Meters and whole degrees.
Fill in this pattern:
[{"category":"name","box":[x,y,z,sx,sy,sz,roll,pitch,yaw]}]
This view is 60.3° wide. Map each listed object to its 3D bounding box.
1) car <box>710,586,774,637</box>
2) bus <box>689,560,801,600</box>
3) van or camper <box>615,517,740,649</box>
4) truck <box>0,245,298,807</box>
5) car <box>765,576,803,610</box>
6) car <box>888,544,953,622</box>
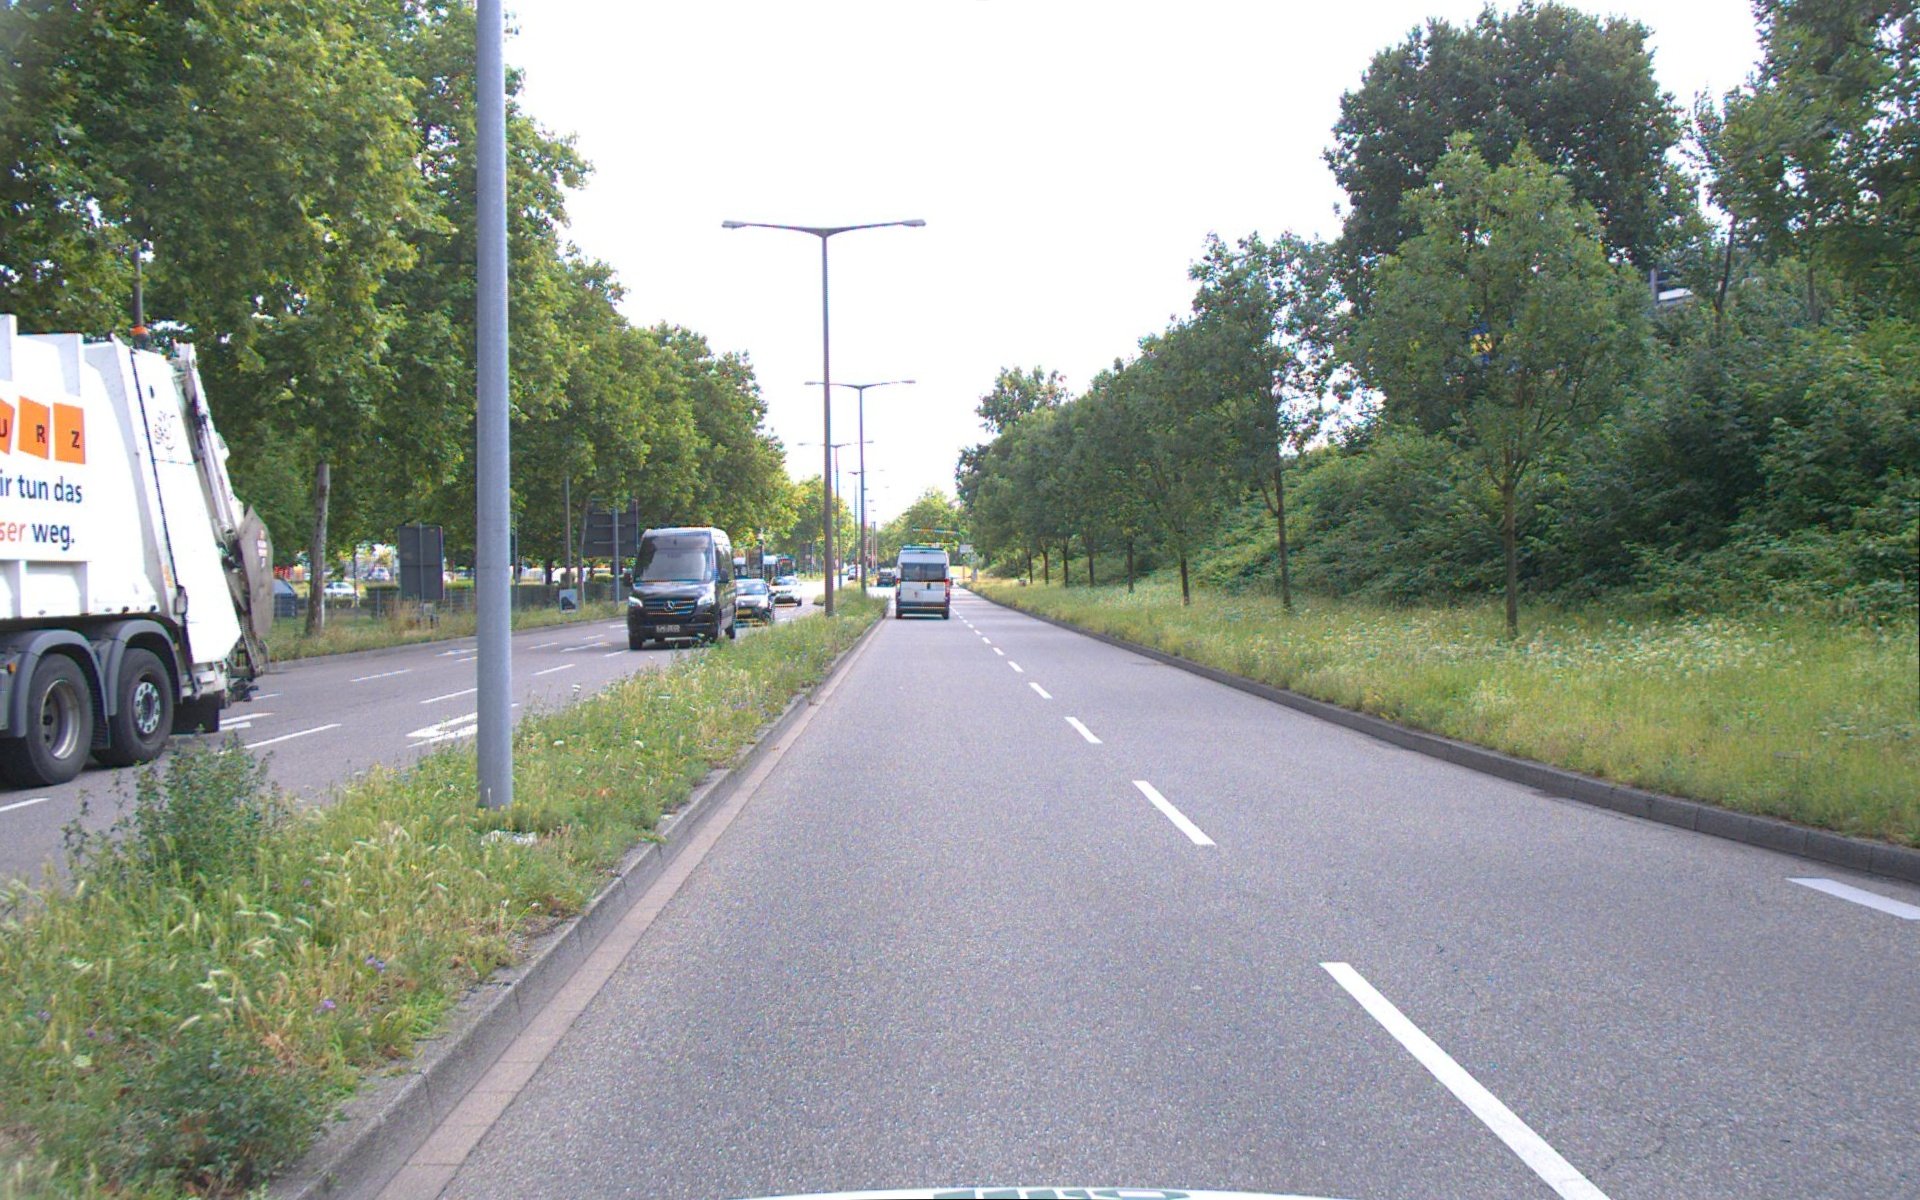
[{"category":"car","box":[-6.779,0.382,51.610,1.660,1.490,3.938,-1,-1,-3]},{"category":"bus","box":[-20.783,-1.895,159.482,12.098,3.332,3.105,-2,-1,38]},{"category":"van or camper","box":[-6.330,-0.331,37.847,2.063,2.706,6.712,-1,-1,-4]},{"category":"truck","box":[-8.052,-0.509,11.891,2.596,3.955,10.158,-1,1,-1]},{"category":"car","box":[-9.441,-0.357,88.837,1.778,1.668,4.348,-2,0,-4]},{"category":"car","box":[-1.534,-0.661,62.181,2.154,2.773,4.927,1,1,-4]}]
